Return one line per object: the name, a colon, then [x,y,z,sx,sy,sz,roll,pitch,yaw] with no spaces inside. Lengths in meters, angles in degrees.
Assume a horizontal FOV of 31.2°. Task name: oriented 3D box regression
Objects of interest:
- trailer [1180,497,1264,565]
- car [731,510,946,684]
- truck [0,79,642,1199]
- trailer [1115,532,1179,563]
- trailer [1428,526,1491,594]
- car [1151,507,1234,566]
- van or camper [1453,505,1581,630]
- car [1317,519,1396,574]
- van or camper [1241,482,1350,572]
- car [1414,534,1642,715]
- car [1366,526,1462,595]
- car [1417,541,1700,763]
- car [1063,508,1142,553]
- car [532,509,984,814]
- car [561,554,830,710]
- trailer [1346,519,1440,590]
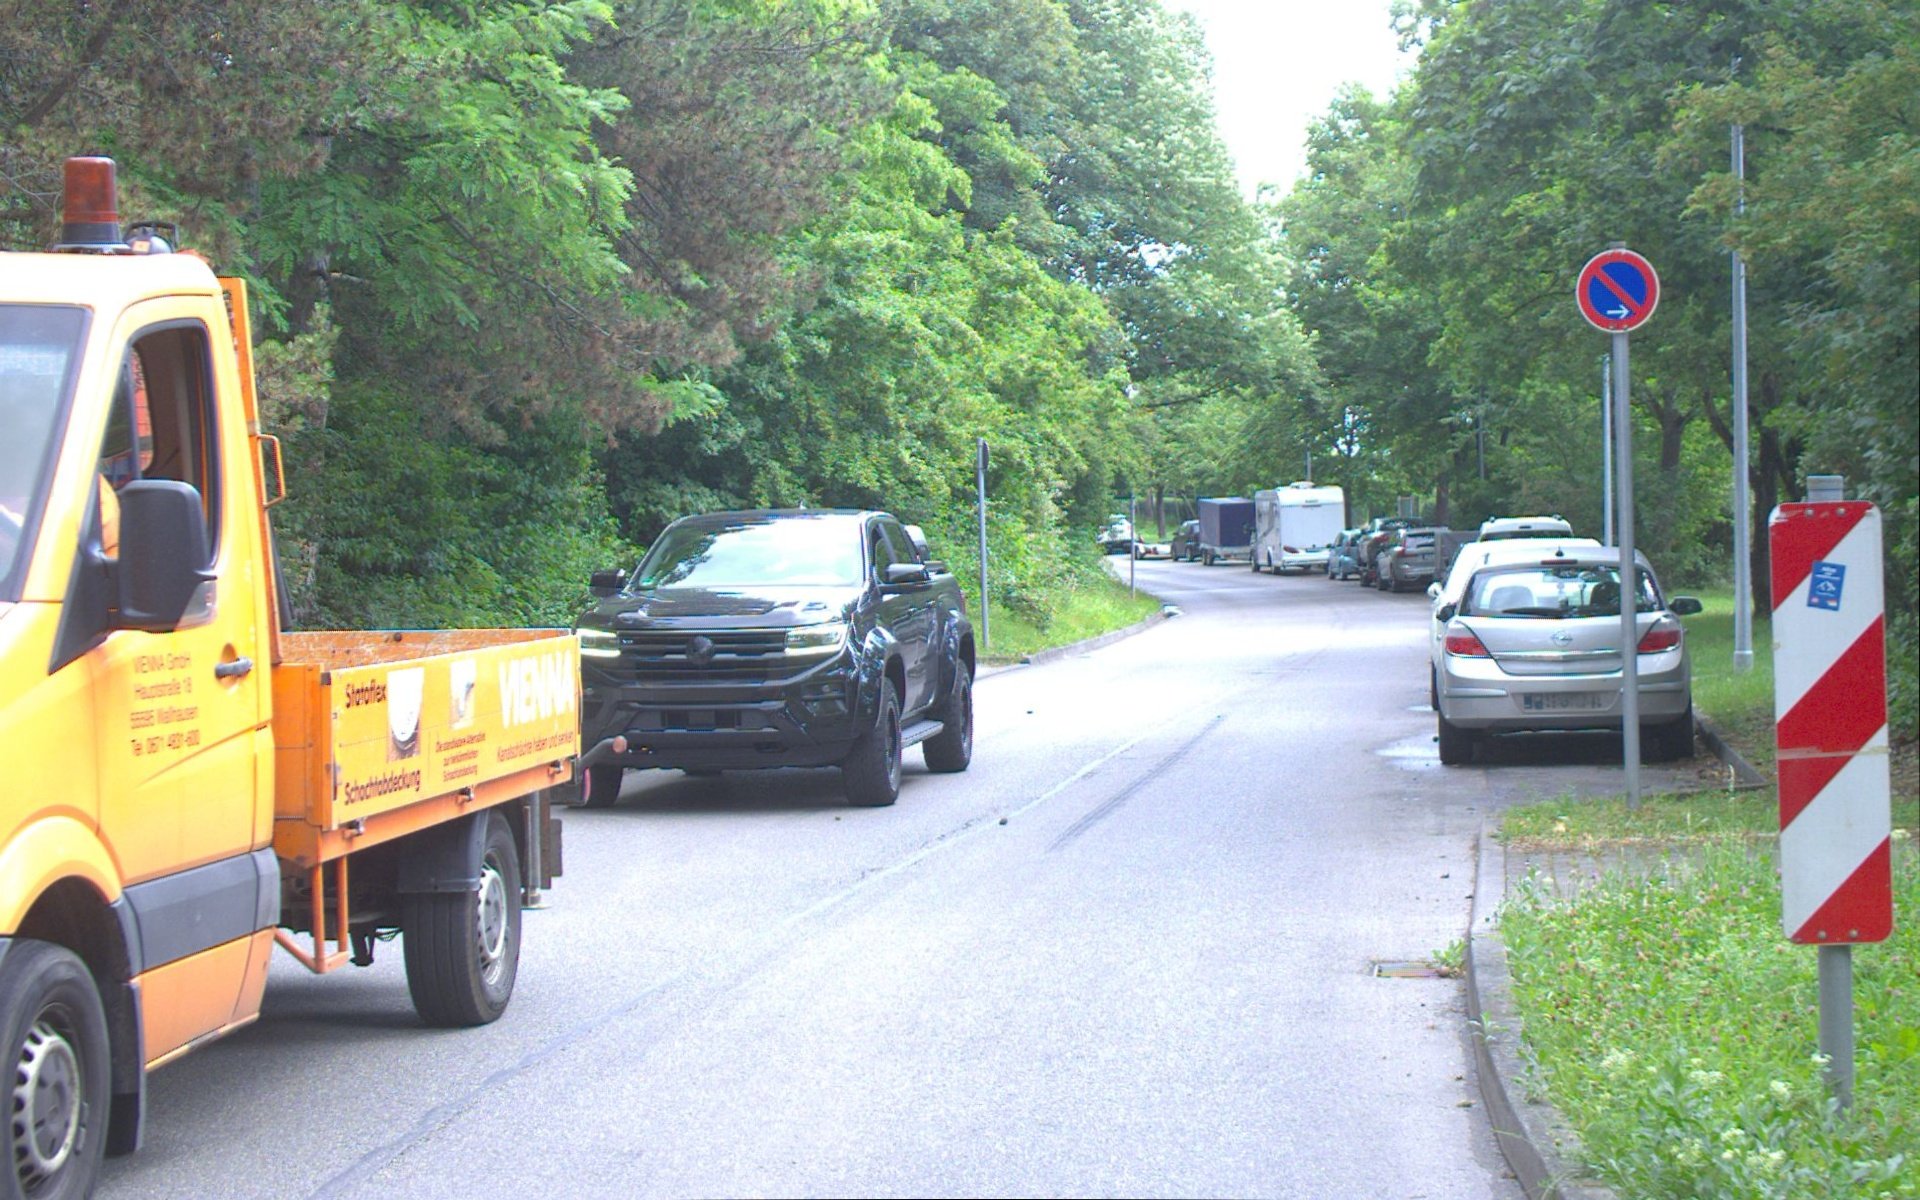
trailer: [9.568,-2.535,125.978,1.993,2.390,4.001,-2,1,-12]
car: [-1.389,-0.084,40.837,1.721,1.915,4.103,1,2,10]
truck: [-2.688,0.137,9.435,2.323,2.461,6.019,1,2,7]
trailer: [7.347,-2.075,135.366,1.651,1.083,4.001,-4,2,-9]
trailer: [12.003,-0.972,82.695,1.279,1.579,2.460,-1,1,4]
car: [8.864,-2.439,131.458,1.993,2.019,4.002,-4,3,-12]
van or camper: [8.563,-0.466,53.110,1.802,1.831,4.319,-1,0,8]
car: [12.074,-1.637,104.774,1.799,1.556,3.836,-2,2,-2]
van or camper: [11.188,-2.436,115.163,2.482,2.866,6.891,-1,1,-4]
car: [5.199,0.163,31.868,1.887,1.501,5.174,-1,1,8]
car: [11.723,-1.008,89.013,1.792,1.664,4.502,-2,0,-1]
car: [4.243,0.311,24.487,1.793,1.406,4.058,-2,1,10]
car: [5.982,-2.921,144.581,2.034,1.797,4.084,-2,2,-17]
car: [-1.150,0.321,22.401,1.994,1.729,5.335,-1,1,7]
car: [-2.561,0.267,34.331,1.806,1.398,4.371,1,1,7]
trailer: [11.977,-1.276,95.403,1.979,1.805,5.149,-2,2,1]
